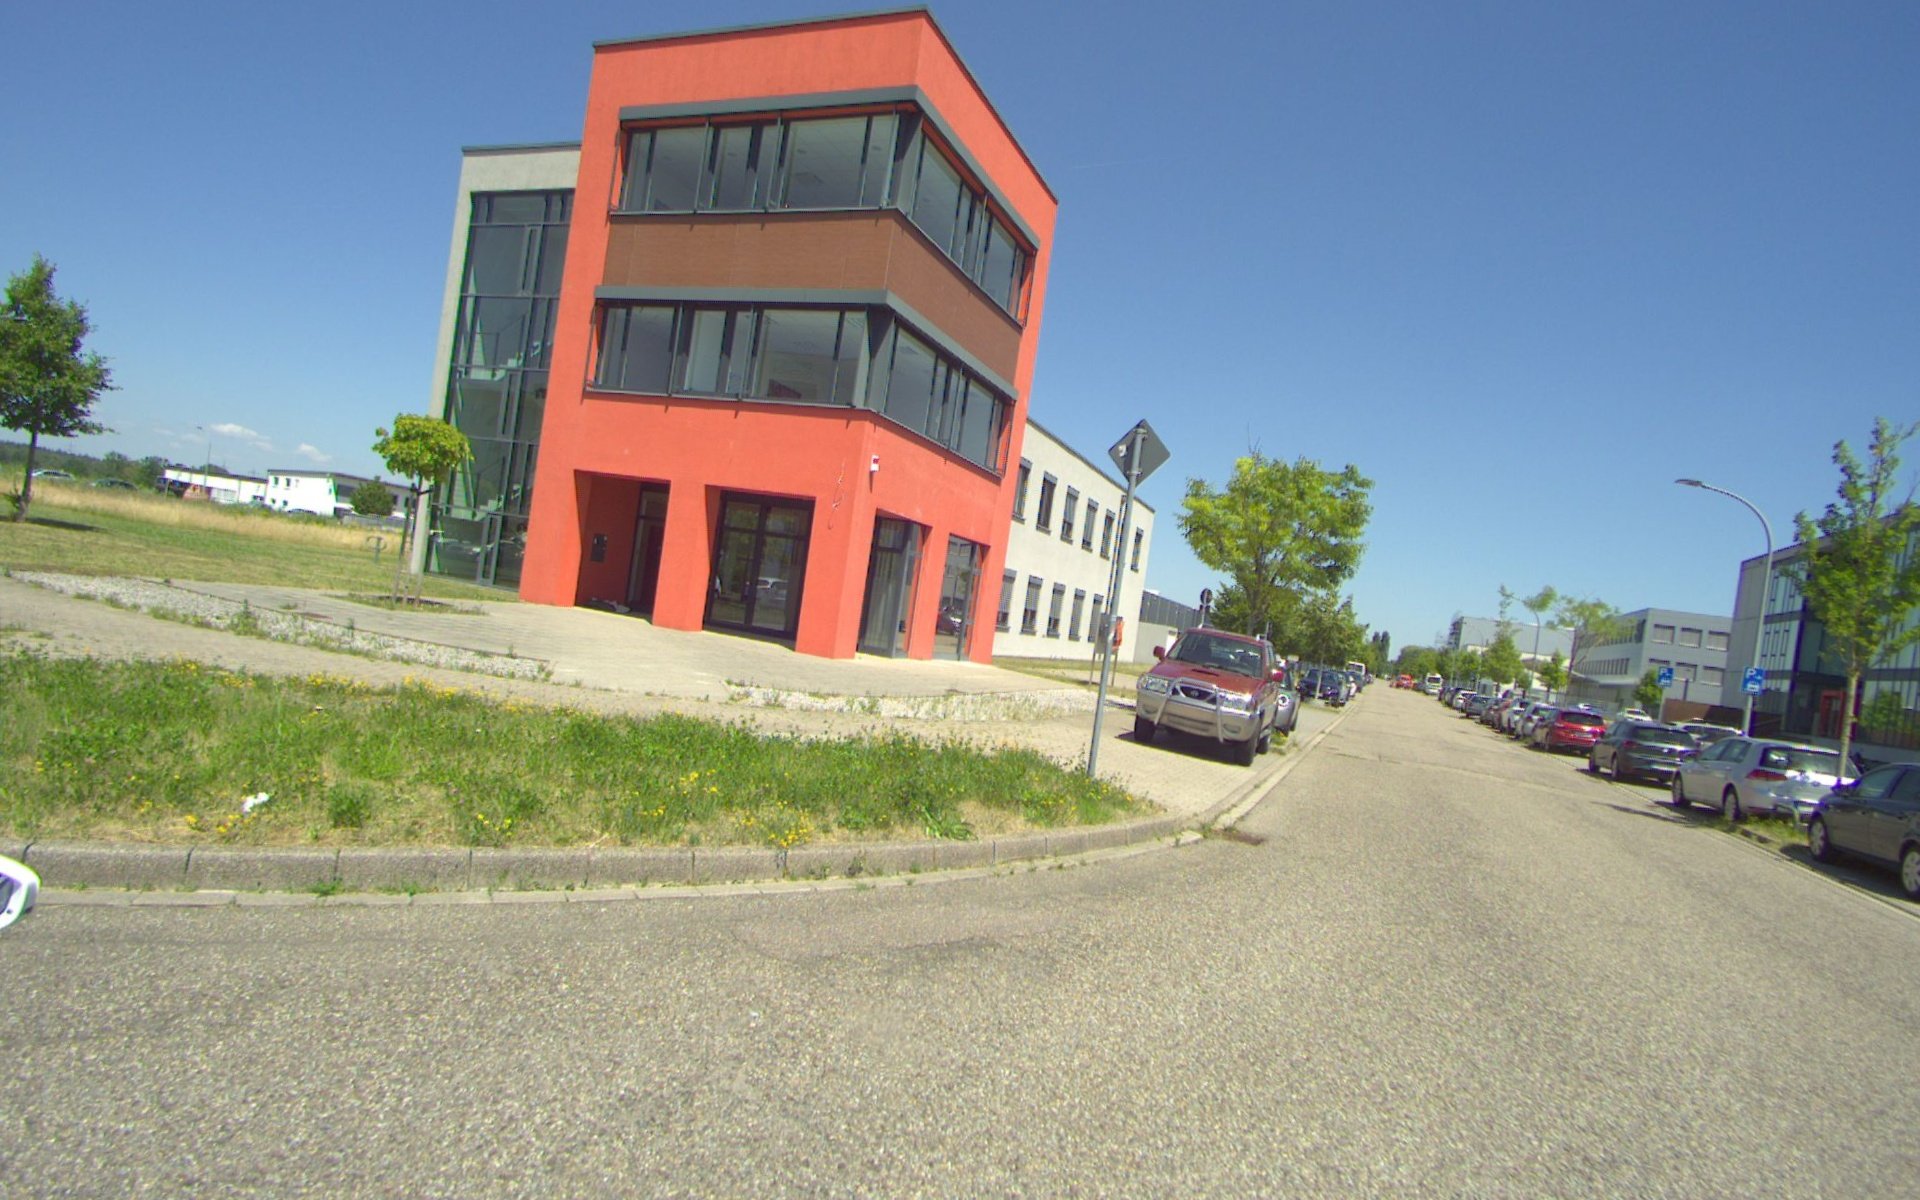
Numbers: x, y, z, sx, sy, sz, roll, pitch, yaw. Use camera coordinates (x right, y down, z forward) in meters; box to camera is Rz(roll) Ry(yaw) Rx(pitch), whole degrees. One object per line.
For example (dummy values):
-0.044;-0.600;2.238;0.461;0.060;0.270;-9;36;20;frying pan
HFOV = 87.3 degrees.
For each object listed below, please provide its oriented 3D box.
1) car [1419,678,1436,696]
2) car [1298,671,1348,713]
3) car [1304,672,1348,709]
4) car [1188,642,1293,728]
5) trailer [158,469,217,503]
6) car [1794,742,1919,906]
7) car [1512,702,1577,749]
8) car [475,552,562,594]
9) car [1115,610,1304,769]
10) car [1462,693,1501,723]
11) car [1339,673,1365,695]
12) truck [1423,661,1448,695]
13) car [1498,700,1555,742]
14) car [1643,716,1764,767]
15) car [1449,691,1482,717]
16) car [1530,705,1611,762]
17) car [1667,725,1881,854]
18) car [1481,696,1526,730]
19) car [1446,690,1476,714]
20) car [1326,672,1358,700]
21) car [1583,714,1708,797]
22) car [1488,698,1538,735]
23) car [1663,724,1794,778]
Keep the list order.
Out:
64.337;11.979;138.475;1.866;2.037;3.998;9;0;26;car
15.754;3.950;43.610;1.755;1.459;3.709;9;-1;21;car
17.914;4.392;49.137;1.755;1.459;3.709;9;-1;21;car
6.422;1.876;22.787;1.755;1.459;3.708;11;1;21;car
-78.370;-11.558;102.094;2.192;2.631;3.999;9;0;23;trailer
11.487;2.637;11.663;1.653;1.518;3.628;6;-2;22;car
23.226;4.967;40.102;1.629;1.487;3.628;6;-2;23;car
-20.896;-1.244;47.724;1.688;1.528;3.332;8;0;24;car
3.918;1.349;15.288;1.778;1.795;4.000;11;0;25;car
31.650;6.544;61.143;1.628;1.487;3.628;6;-2;22;car
31.567;6.767;81.052;1.755;1.459;3.709;9;-1;21;car
55.362;9.114;117.223;1.770;3.629;7.433;9;0;23;truck
25.070;5.332;44.592;1.628;1.487;3.628;6;-2;22;car
30.102;5.700;40.799;3.560;1.487;1.660;6;-1;1;car
35.195;7.219;70.059;1.628;1.487;3.628;6;-2;22;car
20.324;4.417;33.613;1.629;1.487;3.628;6;-2;23;car
13.542;3.072;17.003;1.628;1.518;3.629;6;-2;21;car
29.072;6.037;53.906;1.628;1.487;3.628;6;-2;22;car
37.152;7.576;74.647;1.628;1.487;3.628;6;-2;22;car
24.767;5.565;65.246;1.755;1.459;3.709;9;-1;21;car
16.343;3.643;24.171;1.629;1.487;3.628;6;-2;23;car
27.308;5.744;49.763;1.628;1.487;3.628;6;-2;22;car
29.196;5.721;38.279;3.560;1.487;1.660;6;-1;1;car
